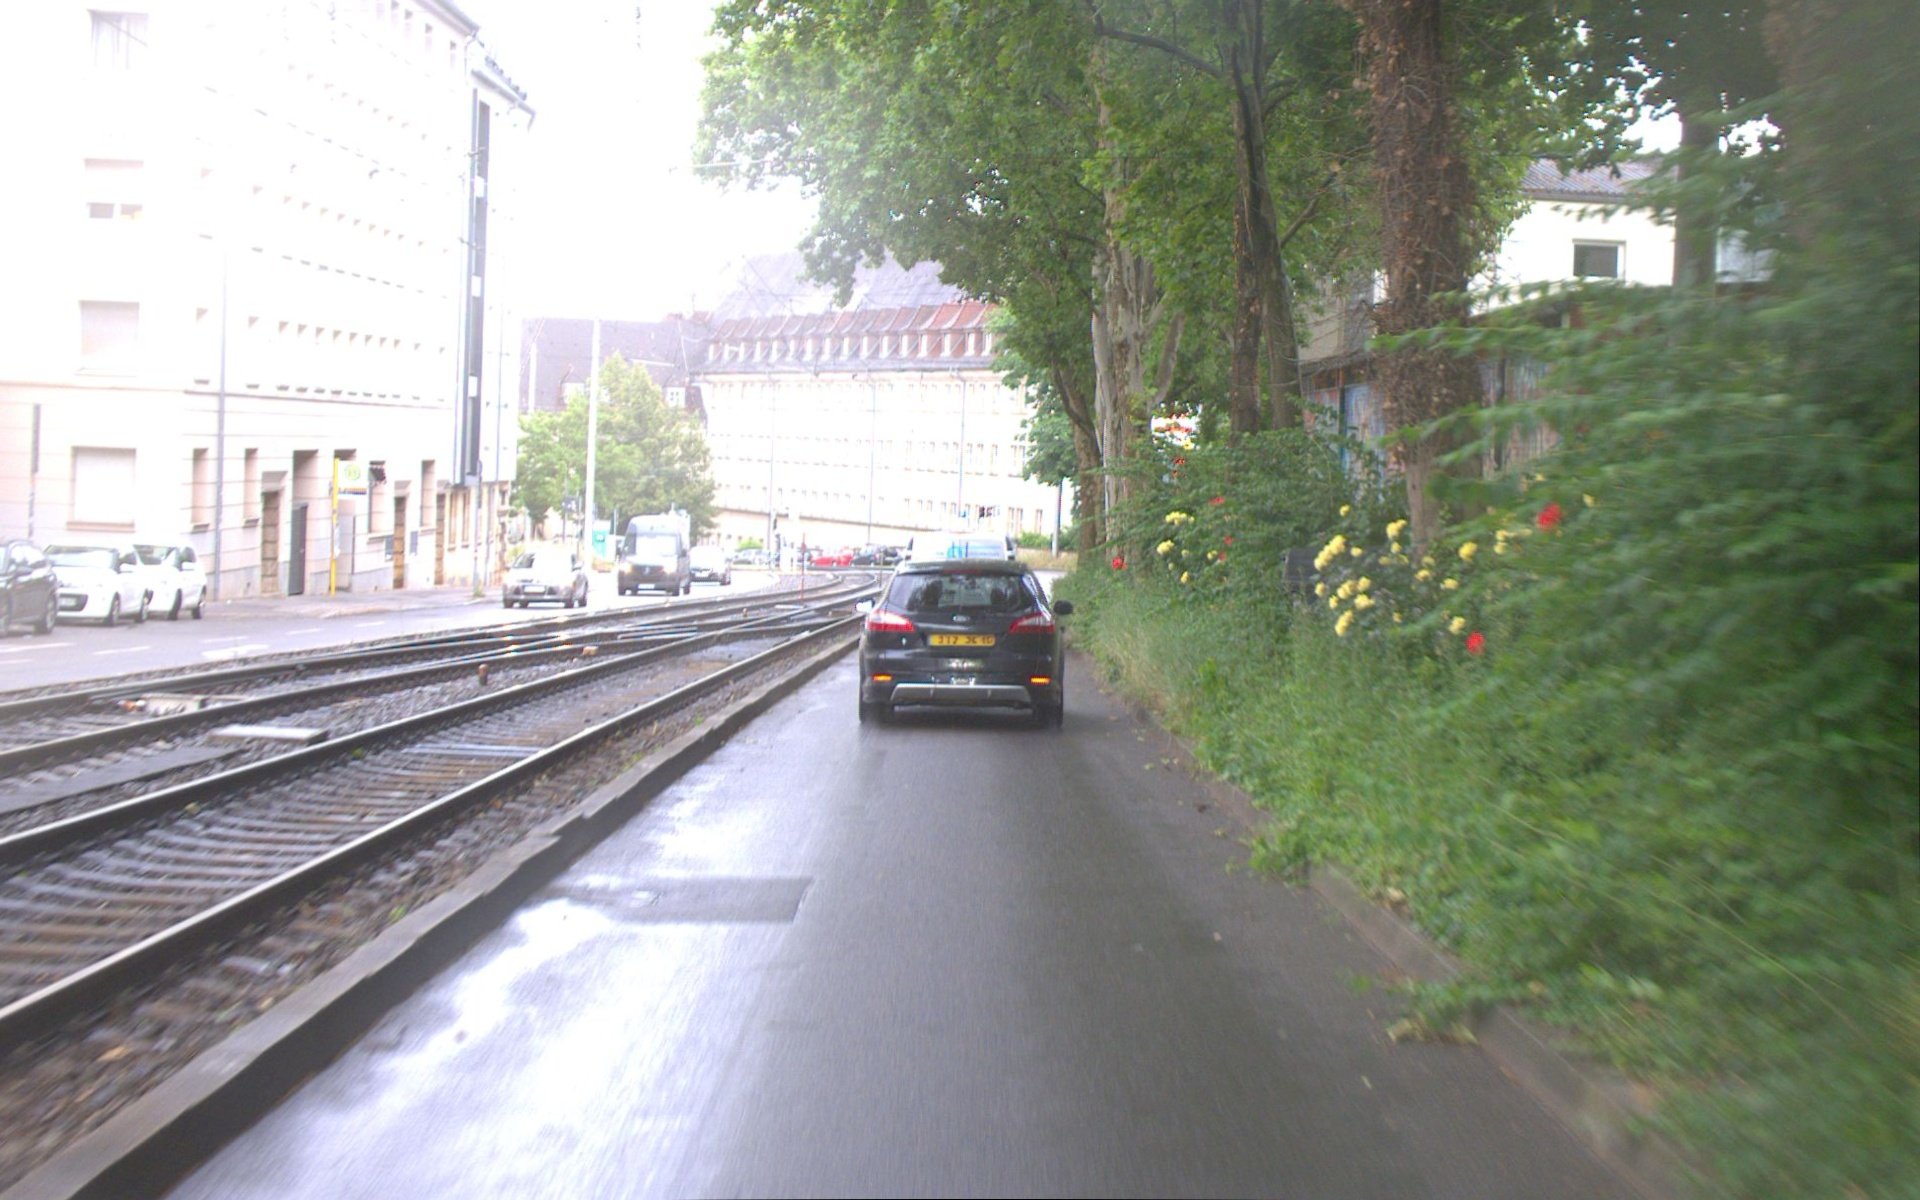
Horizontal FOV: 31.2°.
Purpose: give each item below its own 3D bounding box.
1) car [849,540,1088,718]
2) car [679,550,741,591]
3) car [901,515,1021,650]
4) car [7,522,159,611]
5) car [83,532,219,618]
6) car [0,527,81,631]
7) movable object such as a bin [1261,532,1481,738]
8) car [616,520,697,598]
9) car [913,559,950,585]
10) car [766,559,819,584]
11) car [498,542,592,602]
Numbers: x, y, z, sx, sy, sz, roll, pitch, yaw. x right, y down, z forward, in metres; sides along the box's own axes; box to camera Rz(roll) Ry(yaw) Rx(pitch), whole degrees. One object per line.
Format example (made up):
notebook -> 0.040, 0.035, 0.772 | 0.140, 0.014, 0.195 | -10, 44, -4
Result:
car -> 0.004, 0.238, 31.647 | 1.933, 1.448, 4.318 | 2, 0, -3
car -> -9.599, -1.159, 132.335 | 1.880, 1.481, 4.854 | 2, 1, 1
car -> -0.022, -0.274, 53.893 | 1.740, 2.007, 3.904 | 1, 0, -1
car -> -15.108, -0.587, 59.385 | 1.704, 1.392, 3.936 | 3, 1, -2
car -> -15.051, -0.466, 64.131 | 1.708, 1.445, 3.542 | 3, 0, -2
car -> -14.861, -0.366, 52.133 | 1.813, 1.494, 4.582 | 3, 1, 0
movable object such as a bin -> 2.998, 0.234, 24.992 | 1.402, 1.448, 1.215 | 0, 1, 16
car -> -10.000, -1.318, 113.665 | 1.993, 2.443, 5.998 | 1, 0, 1
car -> -1.685, -1.642, 201.251 | 1.657, 1.471, 3.644 | 1, 0, -8
car -> -10.687, -1.837, 219.169 | 1.993, 1.537, 4.001 | 0, 1, -26
car -> -10.531, -0.723, 87.481 | 1.712, 1.457, 4.280 | 1, 1, 2
